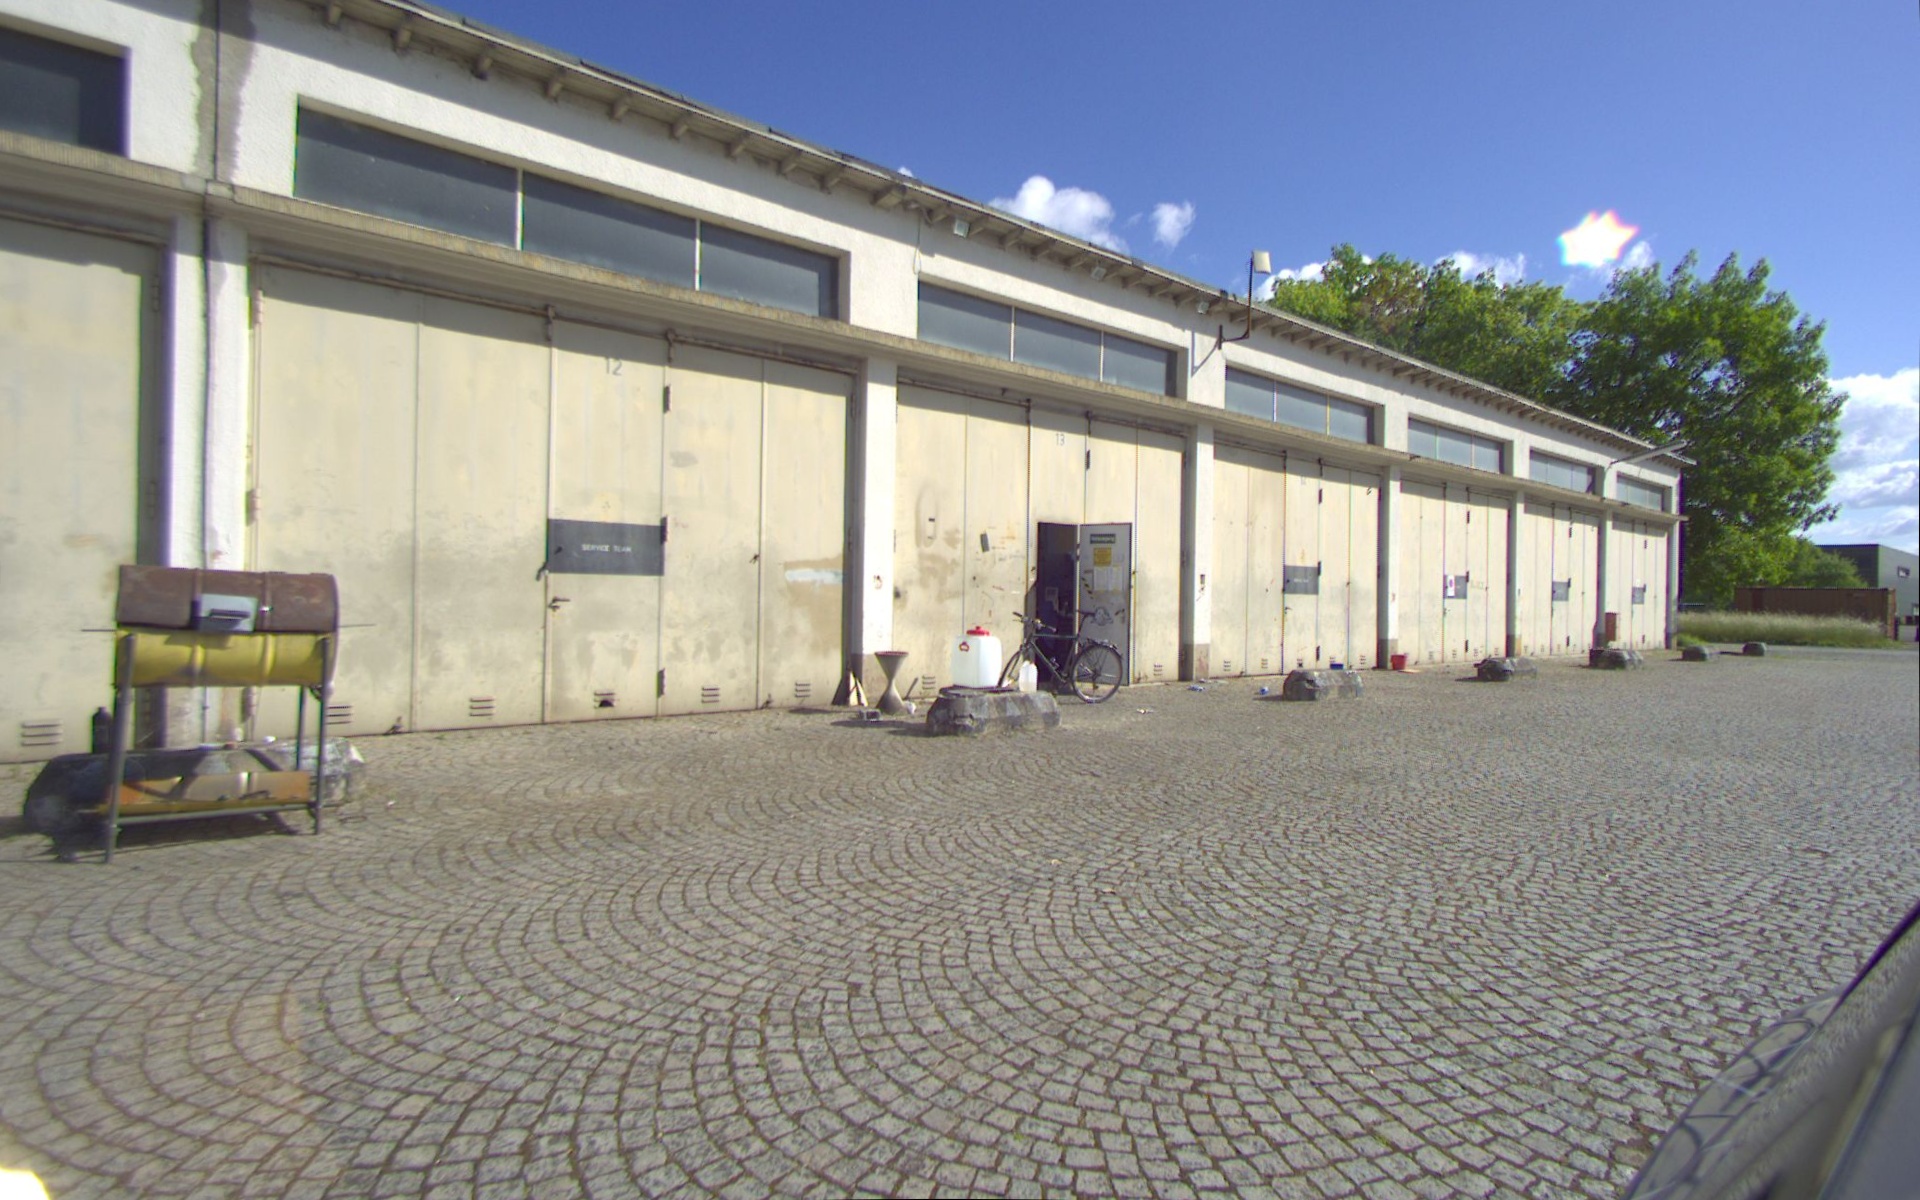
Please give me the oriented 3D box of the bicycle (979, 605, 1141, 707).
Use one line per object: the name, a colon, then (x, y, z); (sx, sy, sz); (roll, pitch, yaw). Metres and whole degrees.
bicycle: (1.168, 0.611, 11.712); (1.787, 1.081, 0.667); (0, 0, -28)
